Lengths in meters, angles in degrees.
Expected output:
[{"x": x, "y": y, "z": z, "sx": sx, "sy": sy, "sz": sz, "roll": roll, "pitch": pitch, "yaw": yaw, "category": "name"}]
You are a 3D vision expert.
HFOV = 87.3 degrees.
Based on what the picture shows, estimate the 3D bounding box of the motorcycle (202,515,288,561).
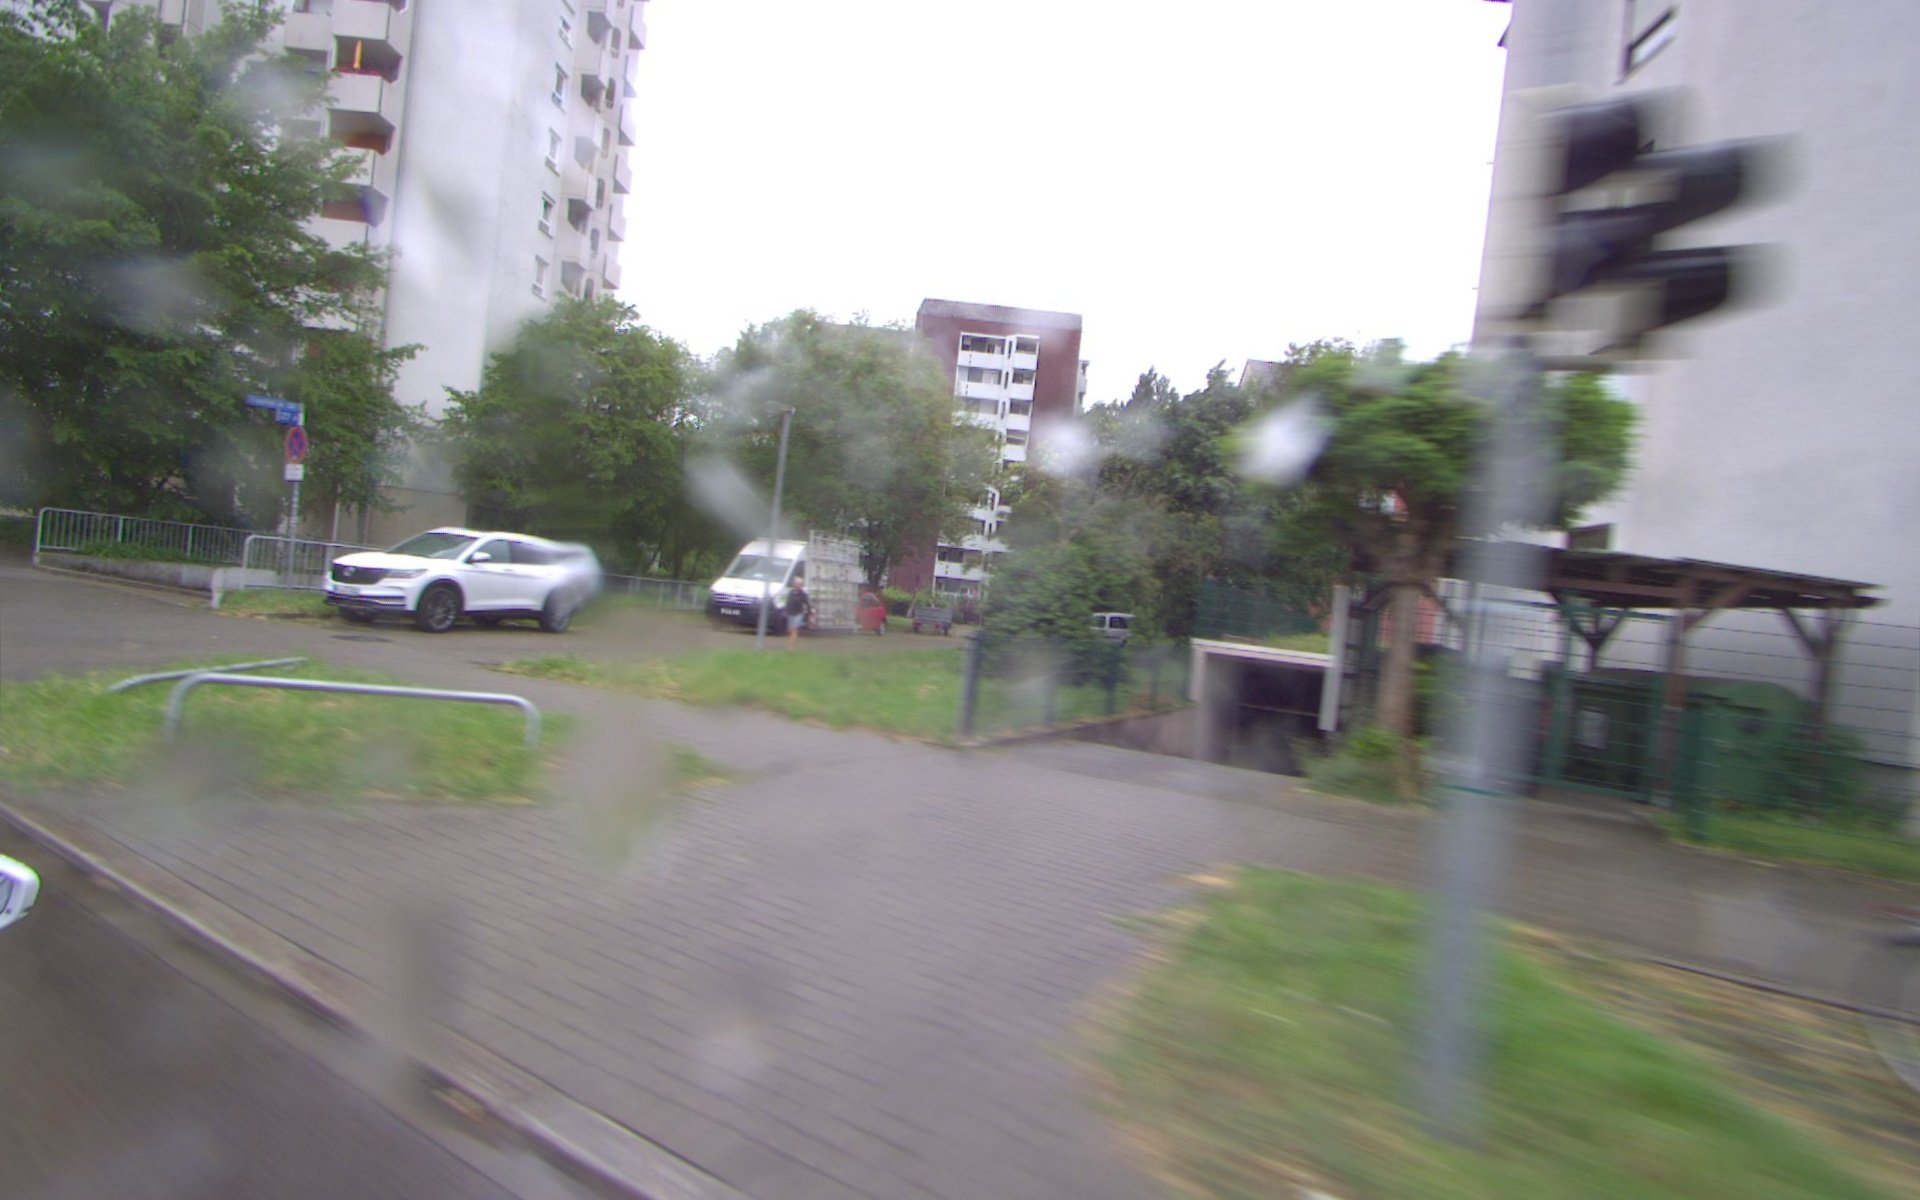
[{"x": -25.152, "y": -2.167, "z": 35.419, "sx": 2.262, "sy": 1.305, "sz": 0.884, "roll": 6, "pitch": 1, "yaw": -5, "category": "motorcycle"}]

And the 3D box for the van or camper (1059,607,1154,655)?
[{"x": 7.071, "y": 1.480, "z": 48.939, "sx": 4.334, "sy": 1.793, "sz": 1.908, "roll": 6, "pitch": 0, "yaw": 4, "category": "van or camper"}]

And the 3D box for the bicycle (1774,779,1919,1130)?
[{"x": 3.769, "y": 1.316, "z": 3.042, "sx": 0.619, "sy": 1.116, "sz": 1.950, "roll": 6, "pitch": 1, "yaw": -14, "category": "bicycle"}]

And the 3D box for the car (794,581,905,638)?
[{"x": -3.645, "y": 0.379, "z": 33.987, "sx": 1.872, "sy": 1.544, "sz": 4.418, "roll": 6, "pitch": 0, "yaw": 19, "category": "car"}]

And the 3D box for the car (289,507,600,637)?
[{"x": -8.799, "y": -0.362, "z": 17.778, "sx": 1.962, "sy": 1.767, "sz": 4.820, "roll": 6, "pitch": 0, "yaw": 17, "category": "car"}]

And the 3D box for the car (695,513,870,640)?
[{"x": -4.785, "y": -0.490, "z": 28.380, "sx": 2.090, "sy": 3.000, "sz": 6.077, "roll": 6, "pitch": 0, "yaw": 17, "category": "car"}]

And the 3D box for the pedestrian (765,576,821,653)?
[{"x": -3.719, "y": 0.331, "z": 22.437, "sx": 0.799, "sy": 1.590, "sz": 0.840, "roll": 6, "pitch": 1, "yaw": 13, "category": "pedestrian"}]

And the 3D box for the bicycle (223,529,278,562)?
[{"x": -24.226, "y": -1.859, "z": 34.356, "sx": 1.439, "sy": 0.937, "sz": 0.408, "roll": 6, "pitch": 1, "yaw": -5, "category": "bicycle"}]
